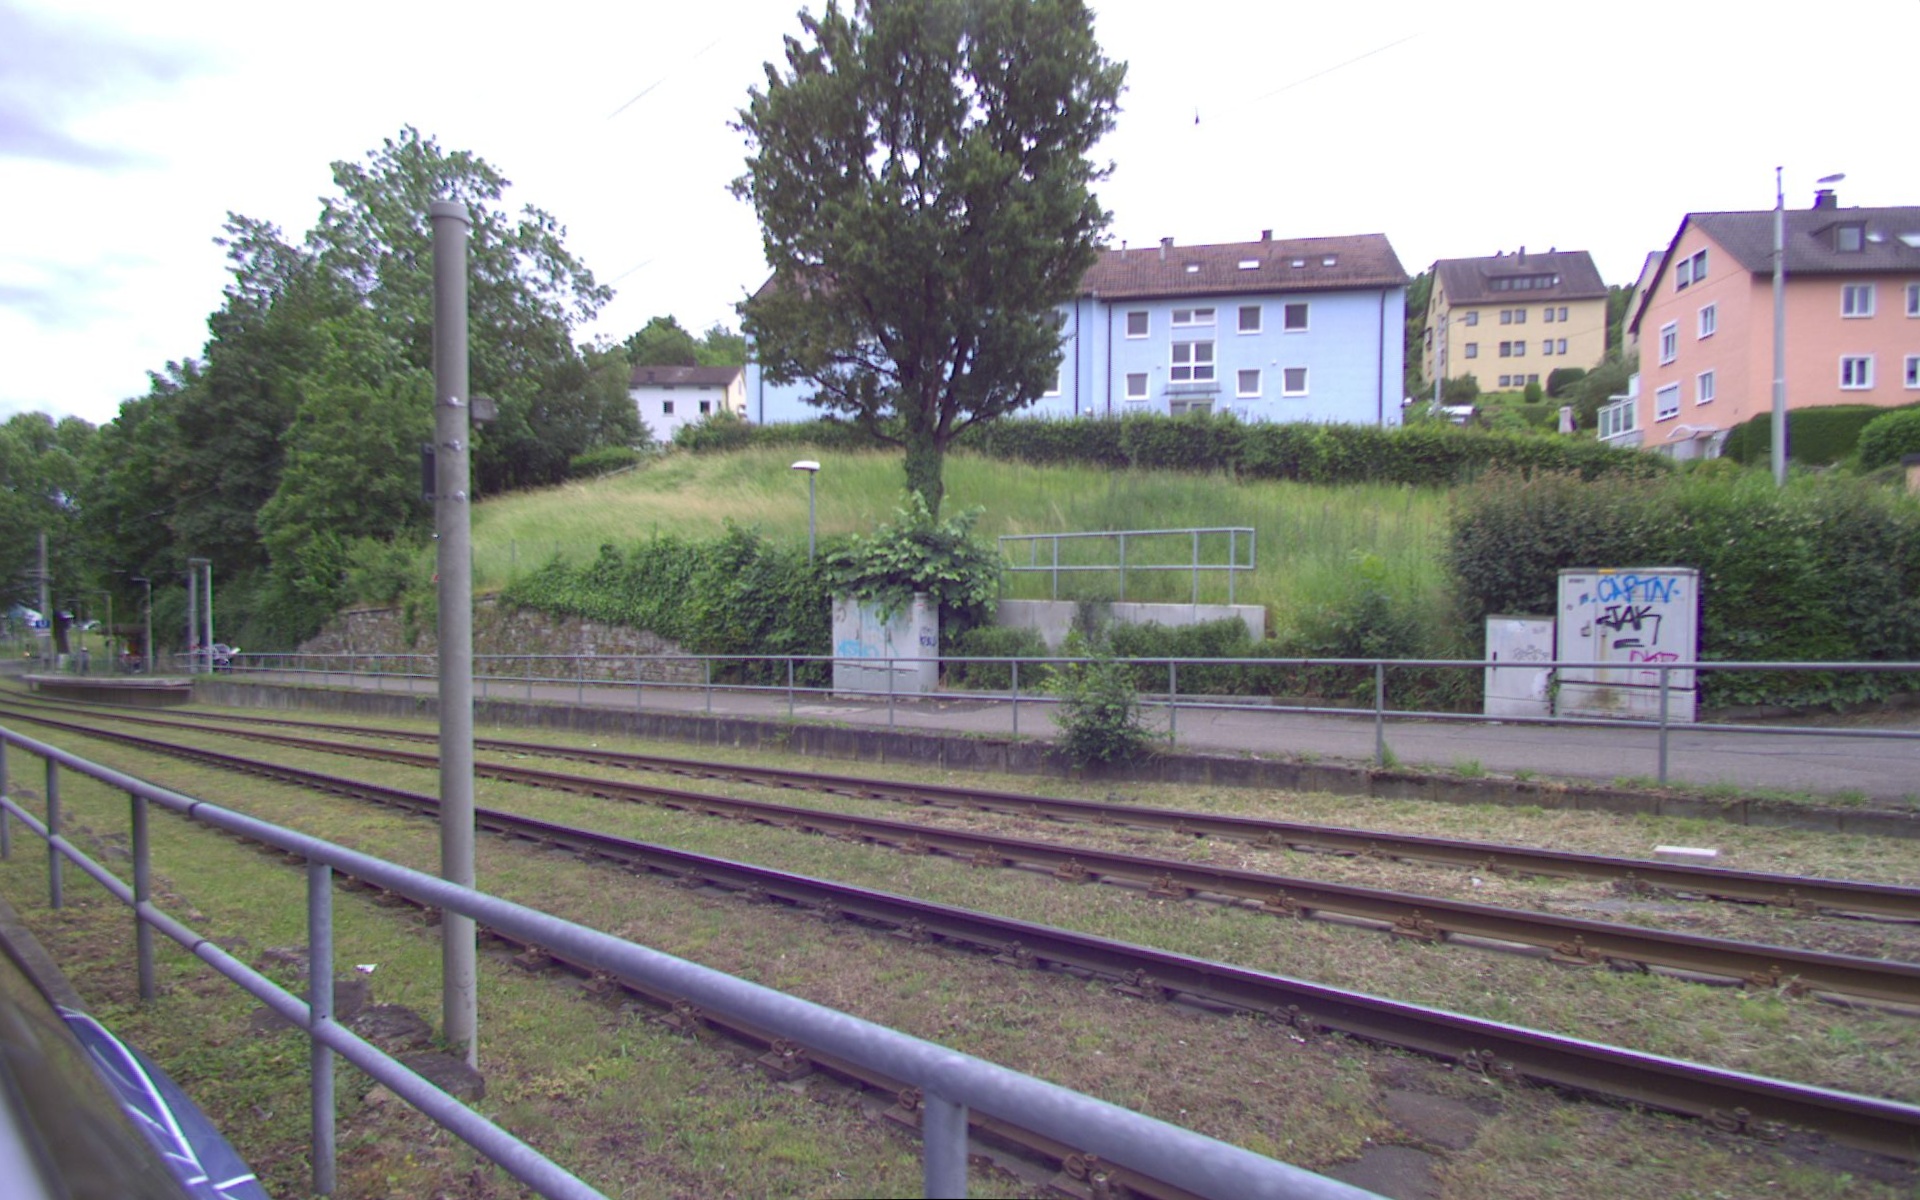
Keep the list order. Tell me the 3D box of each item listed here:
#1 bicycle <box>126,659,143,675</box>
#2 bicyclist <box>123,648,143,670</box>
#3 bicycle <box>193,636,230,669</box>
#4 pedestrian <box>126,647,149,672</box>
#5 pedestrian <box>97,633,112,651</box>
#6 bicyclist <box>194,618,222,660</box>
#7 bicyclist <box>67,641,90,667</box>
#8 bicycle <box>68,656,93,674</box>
[{"bbox_3d":[-43.219,3.524,52.995,1.564,0.787,0.445,-4,-2,42],"label":"bicycle"},{"bbox_3d":[-43.349,3.098,53.031,0.744,1.061,0.682,-4,-2,41],"label":"bicyclist"},{"bbox_3d":[-29.947,2.112,40.469,0.742,1.249,2.868,-3,-1,-45],"label":"bicycle"},{"bbox_3d":[-47.043,3.393,57.883,0.772,1.385,0.813,-2,-1,35],"label":"pedestrian"},{"bbox_3d":[-87.155,4.288,103.151,1.101,1.747,0.695,-2,-1,-43],"label":"pedestrian"},{"bbox_3d":[-30.331,1.579,40.831,1.033,1.641,0.696,-5,-1,44],"label":"bicyclist"},{"bbox_3d":[-52.272,3.216,60.036,0.903,1.442,0.740,-5,-2,28],"label":"bicyclist"},{"bbox_3d":[-52.206,3.857,60.079,1.836,0.932,0.474,-5,-2,29],"label":"bicycle"}]
